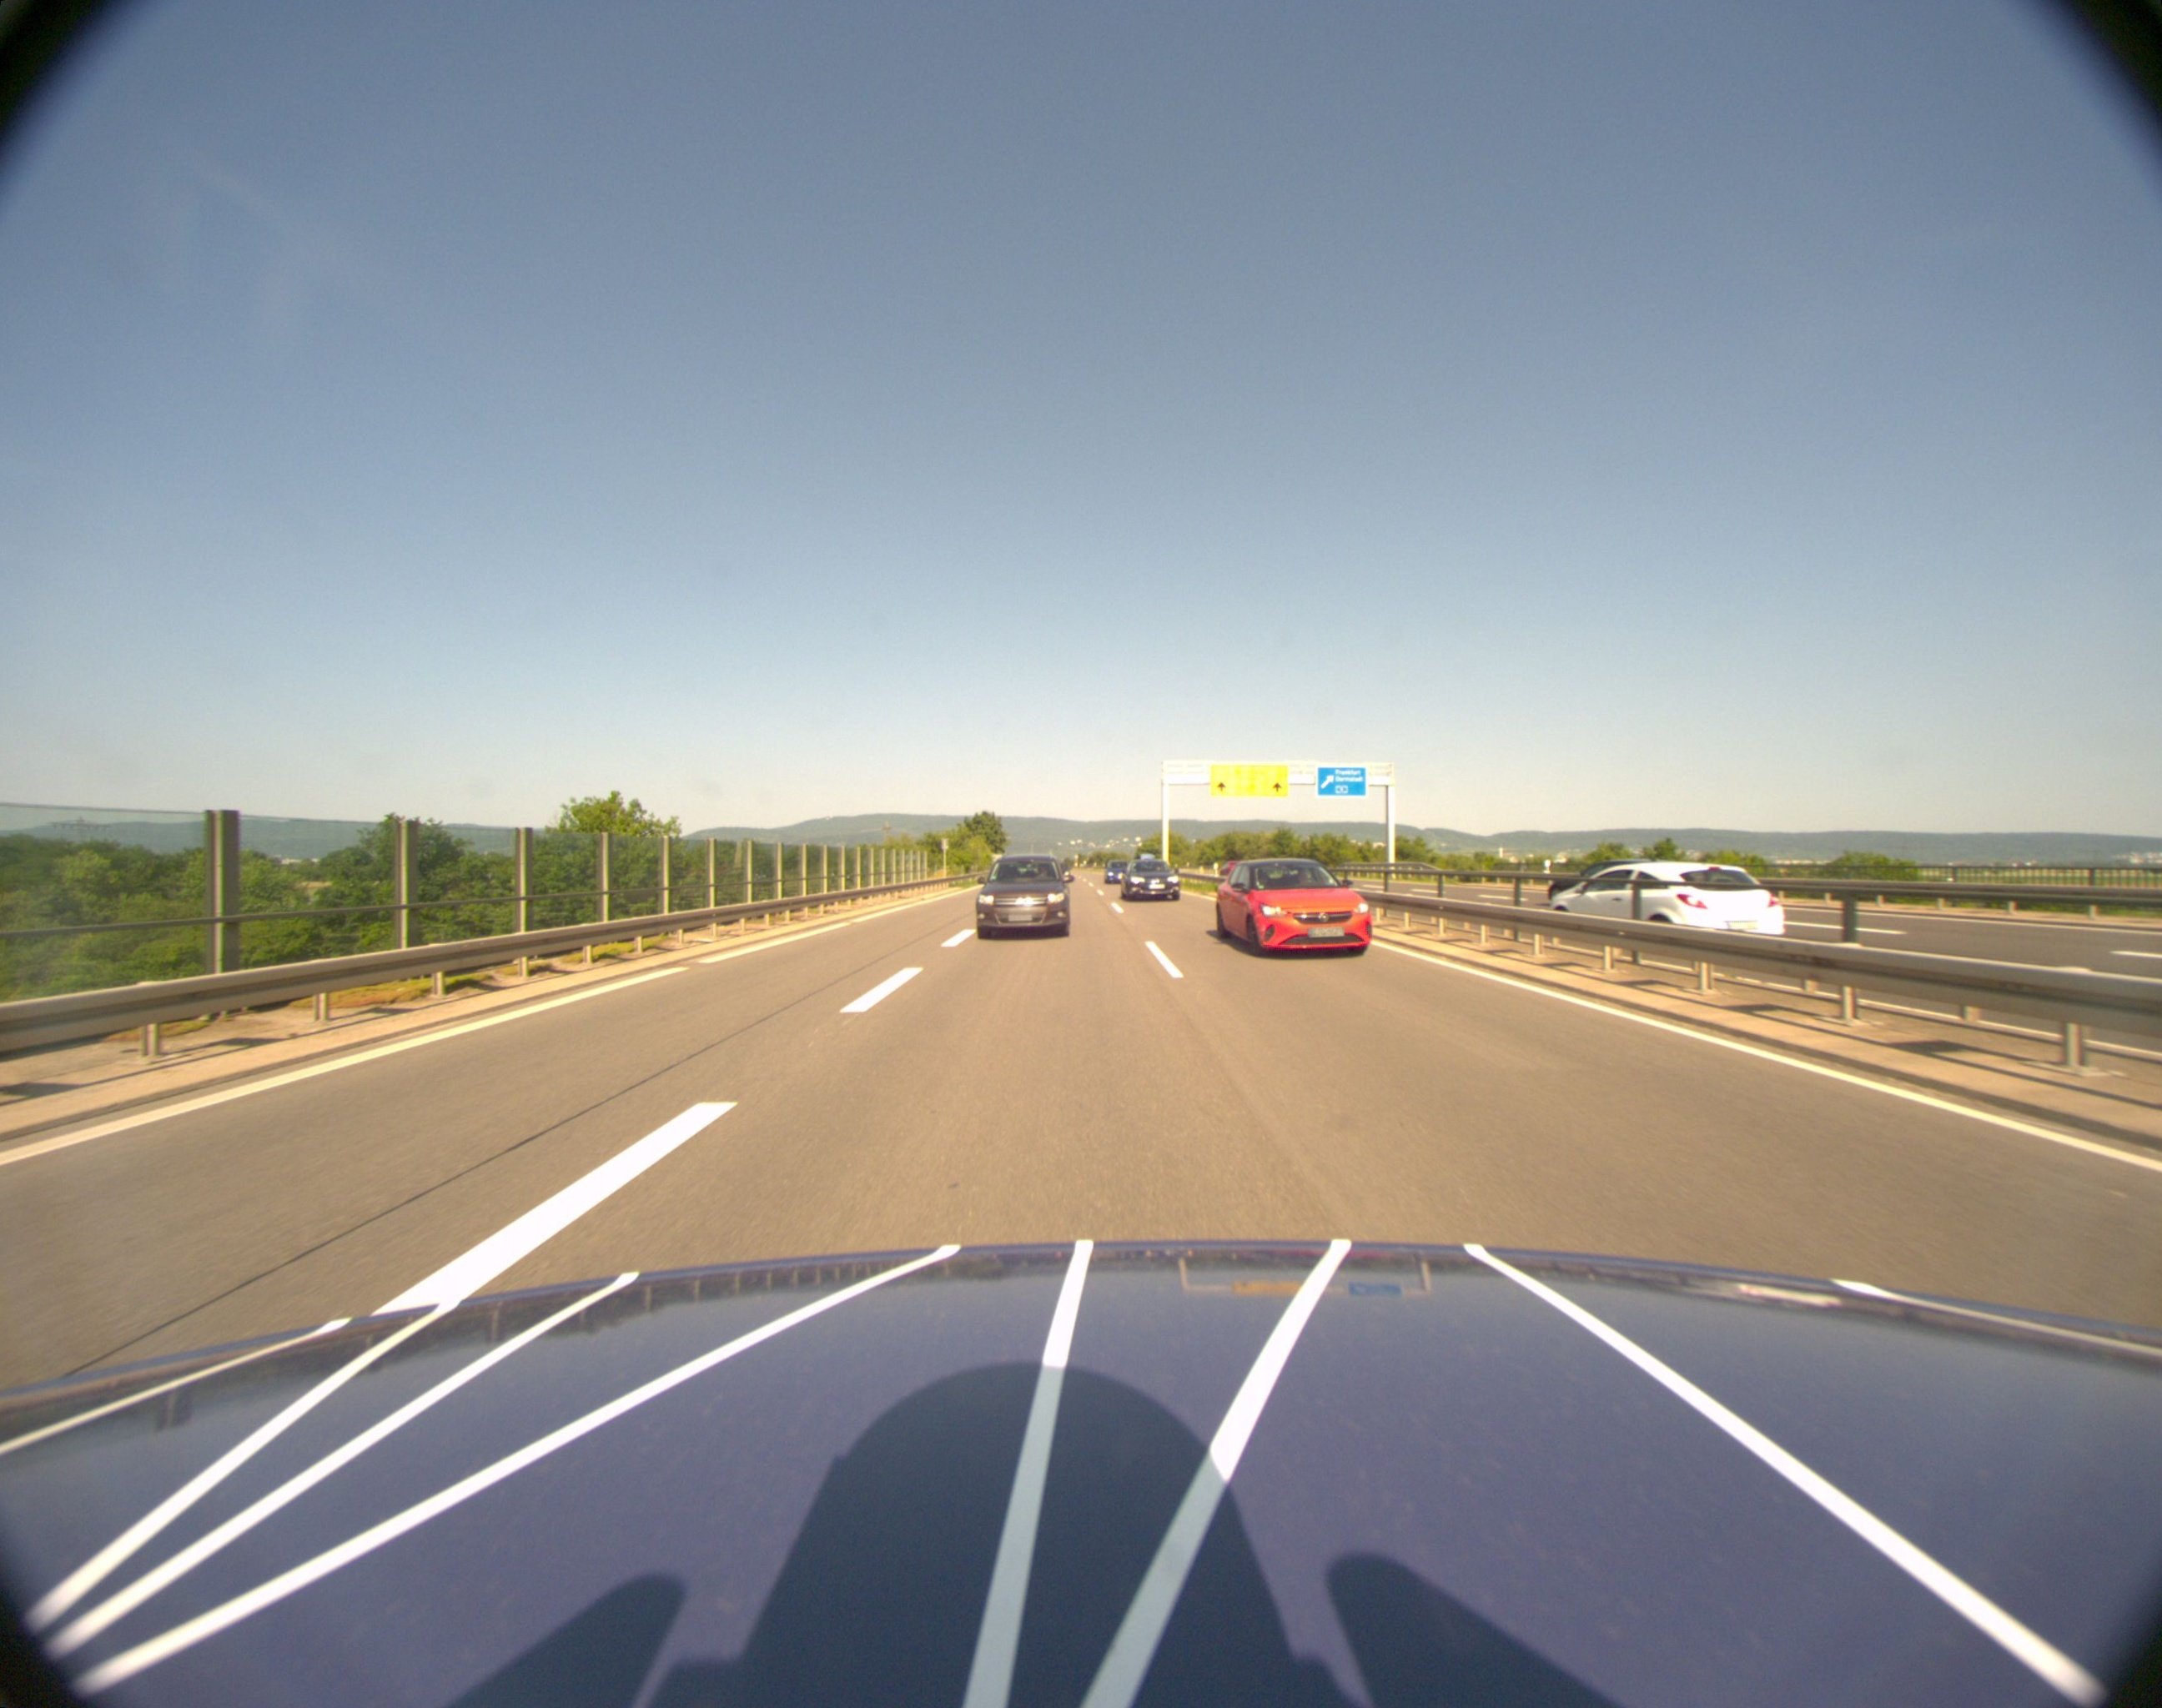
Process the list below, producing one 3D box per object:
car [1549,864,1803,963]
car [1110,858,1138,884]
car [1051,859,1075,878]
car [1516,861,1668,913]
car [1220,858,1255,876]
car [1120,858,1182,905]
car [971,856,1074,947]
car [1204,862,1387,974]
[{"bbox_3d":[10.210,0.940,13.433,1.556,1.408,3.668,-2,0,-1],"label":"car"},{"bbox_3d":[2.675,1.041,47.953,1.651,1.403,3.775,-2,1,2],"label":"car"},{"bbox_3d":[-1.295,1.008,53.471,1.601,1.241,3.999,-2,0,-2],"label":"car"},{"bbox_3d":[15.294,0.939,23.041,1.784,1.376,3.999,-2,0,-2],"label":"car"},{"bbox_3d":[13.052,1.068,63.647,1.829,1.420,4.531,-1,0,-2],"label":"car"},{"bbox_3d":[2.460,0.949,27.698,1.788,1.524,4.375,-2,-1,0],"label":"car"},{"bbox_3d":[-1.104,0.899,16.216,1.790,1.637,4.148,-1,0,1],"label":"car"},{"bbox_3d":[3.302,0.904,12.644,1.713,1.428,4.412,-3,0,-1],"label":"car"}]
